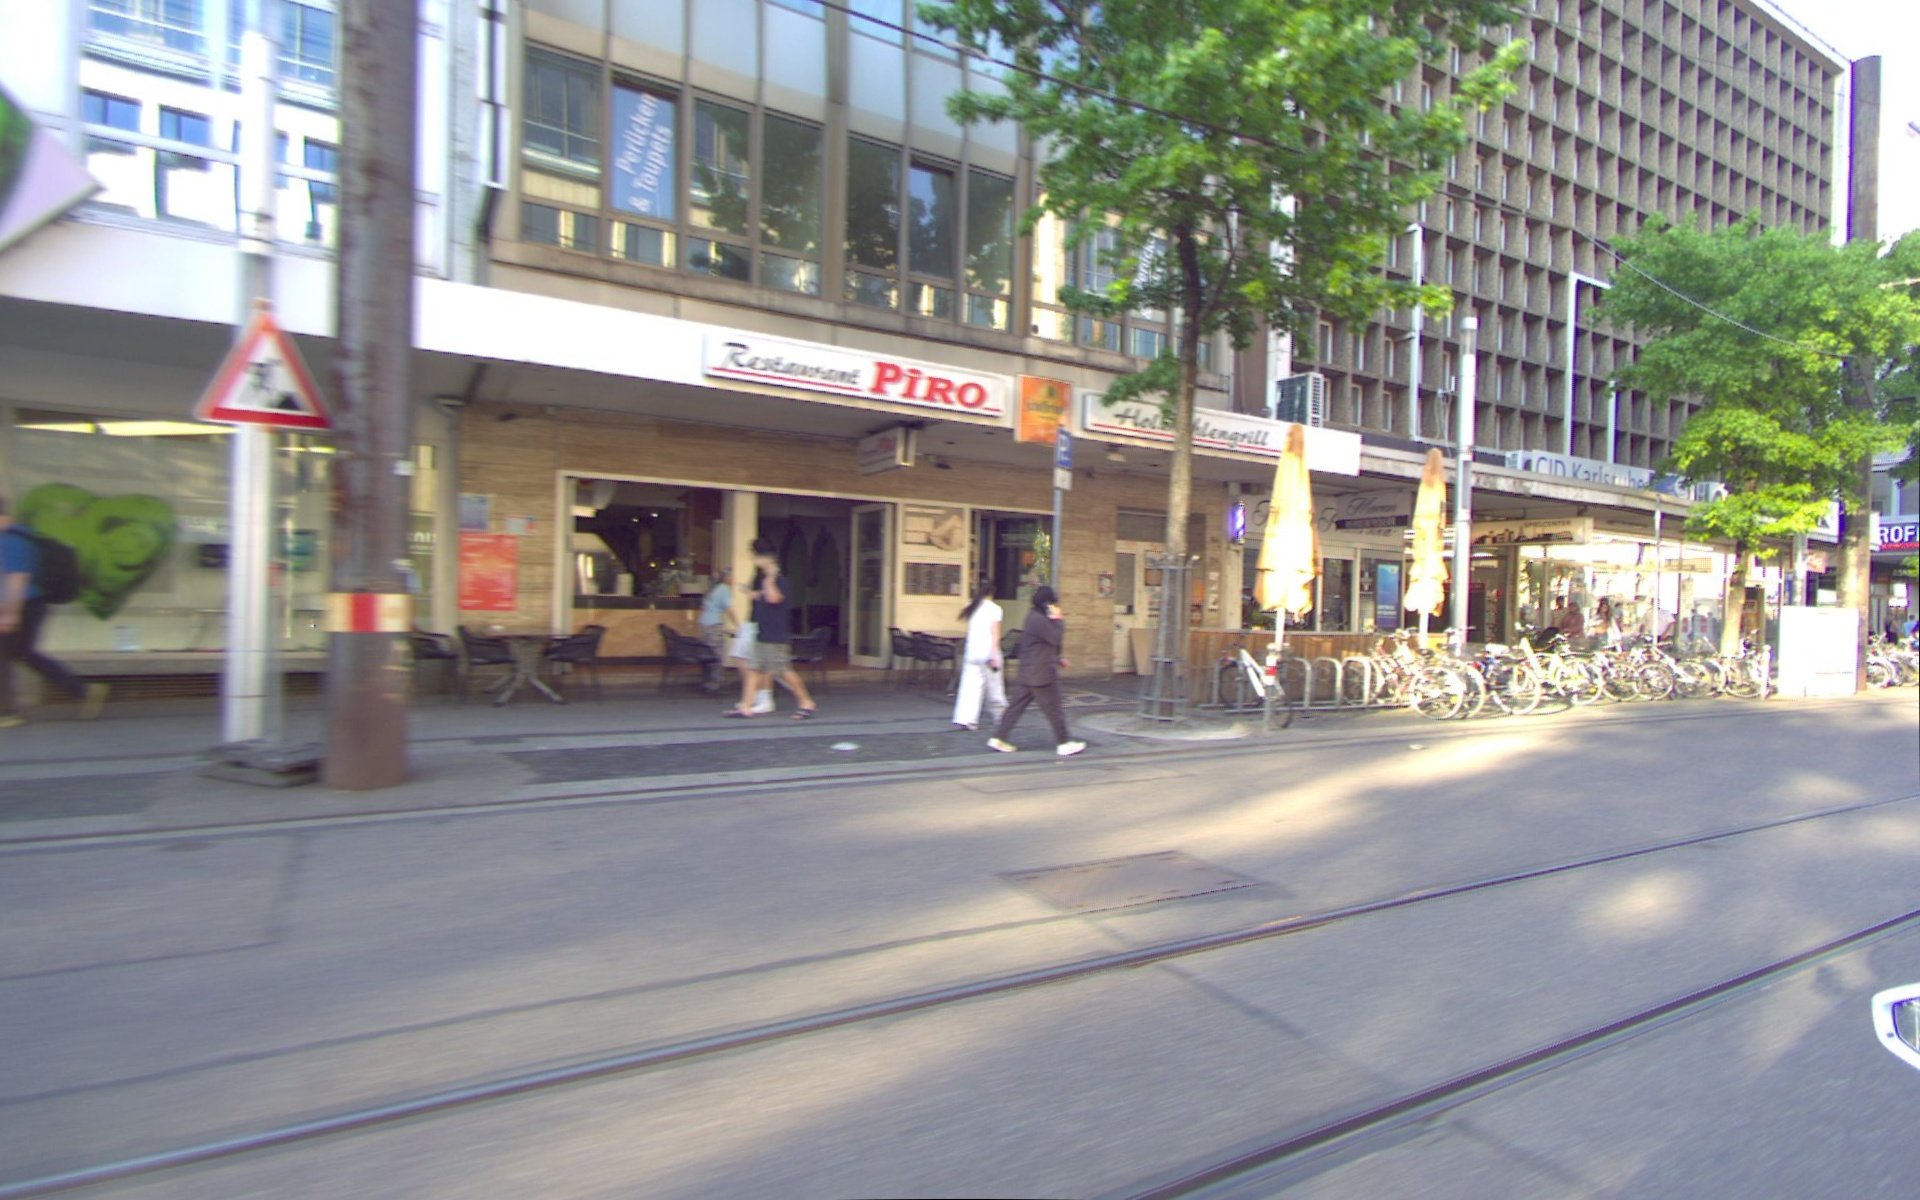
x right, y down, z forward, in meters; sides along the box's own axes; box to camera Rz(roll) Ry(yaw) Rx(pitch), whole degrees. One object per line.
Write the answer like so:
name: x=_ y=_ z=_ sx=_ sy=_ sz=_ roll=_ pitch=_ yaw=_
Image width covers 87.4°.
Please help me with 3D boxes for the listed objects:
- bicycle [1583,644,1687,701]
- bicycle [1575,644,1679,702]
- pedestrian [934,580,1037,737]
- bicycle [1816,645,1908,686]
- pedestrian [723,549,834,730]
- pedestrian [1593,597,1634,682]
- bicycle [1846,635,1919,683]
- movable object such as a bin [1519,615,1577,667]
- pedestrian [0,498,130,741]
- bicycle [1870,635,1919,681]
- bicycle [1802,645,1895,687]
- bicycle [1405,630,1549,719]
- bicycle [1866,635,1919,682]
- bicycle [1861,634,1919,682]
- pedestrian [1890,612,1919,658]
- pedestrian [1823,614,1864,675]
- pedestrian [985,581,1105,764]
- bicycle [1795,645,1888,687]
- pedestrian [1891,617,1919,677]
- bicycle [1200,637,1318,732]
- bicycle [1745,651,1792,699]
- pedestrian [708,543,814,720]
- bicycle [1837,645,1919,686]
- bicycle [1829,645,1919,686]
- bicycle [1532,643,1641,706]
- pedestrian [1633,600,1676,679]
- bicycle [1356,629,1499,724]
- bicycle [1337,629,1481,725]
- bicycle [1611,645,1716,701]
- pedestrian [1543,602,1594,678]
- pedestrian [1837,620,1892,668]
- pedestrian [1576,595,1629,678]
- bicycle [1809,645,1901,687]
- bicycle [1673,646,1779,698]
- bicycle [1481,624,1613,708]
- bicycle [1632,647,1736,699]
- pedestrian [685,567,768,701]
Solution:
bicycle: x=11.731 y=1.248 z=17.505 sx=0.340 sy=0.852 sz=1.486 roll=1 pitch=1 yaw=-28
bicycle: x=11.419 y=1.238 z=17.236 sx=0.340 sy=0.852 sz=1.486 roll=1 pitch=1 yaw=-28
pedestrian: x=0.258 y=0.583 z=10.403 sx=0.823 sy=1.529 sz=0.619 roll=1 pitch=2 yaw=-30
bicycle: x=20.194 y=1.457 z=22.525 sx=0.340 sy=0.794 sz=1.486 roll=1 pitch=1 yaw=-28
pedestrian: x=-1.866 y=0.382 z=10.319 sx=0.922 sy=1.771 sz=0.619 roll=1 pitch=2 yaw=-30
pedestrian: x=14.167 y=0.848 z=21.765 sx=0.704 sy=1.790 sz=0.682 roll=1 pitch=0 yaw=35
bicycle: x=21.641 y=1.365 z=23.362 sx=0.342 sy=1.023 sz=1.480 roll=1 pitch=1 yaw=-40
movable object such as a bin: x=12.248 y=0.847 z=20.917 sx=0.972 sy=1.053 sz=0.709 roll=1 pitch=0 yaw=-36
pedestrian: x=-7.723 y=0.141 z=8.438 sx=1.060 sy=1.949 sz=0.796 roll=1 pitch=3 yaw=-33
bicycle: x=22.682 y=1.391 z=23.900 sx=0.342 sy=1.042 sz=1.480 roll=1 pitch=1 yaw=-40
bicycle: x=19.578 y=1.444 z=22.171 sx=0.340 sy=0.794 sz=1.486 roll=1 pitch=1 yaw=-28
bicycle: x=7.312 y=1.023 z=14.292 sx=0.373 sy=1.092 sz=1.835 roll=1 pitch=1 yaw=-34
bicycle: x=22.390 y=1.380 z=23.670 sx=0.342 sy=1.042 sz=1.480 roll=1 pitch=1 yaw=-40
bicycle: x=22.078 y=1.361 z=23.470 sx=0.342 sy=1.042 sz=1.480 roll=1 pitch=1 yaw=-40
pedestrian: x=36.251 y=1.324 z=38.382 sx=0.970 sy=1.729 sz=0.817 roll=1 pitch=0 yaw=-32
pedestrian: x=26.577 y=1.325 z=30.227 sx=0.712 sy=1.785 sz=0.818 roll=1 pitch=0 yaw=25
pedestrian: x=0.776 y=0.633 z=9.201 sx=0.842 sy=1.571 sz=0.619 roll=1 pitch=2 yaw=-30
bicycle: x=19.276 y=1.431 z=21.992 sx=0.340 sy=0.794 sz=1.486 roll=1 pitch=1 yaw=-28
pedestrian: x=26.572 y=1.308 z=27.945 sx=0.970 sy=1.644 sz=0.744 roll=1 pitch=0 yaw=-33
bicycle: x=3.482 y=0.960 z=11.835 sx=0.372 sy=0.943 sz=1.591 roll=1 pitch=1 yaw=-23
bicycle: x=14.738 y=1.349 z=18.297 sx=1.393 sy=0.794 sz=0.341 roll=1 pitch=1 yaw=-39
pedestrian: x=-2.154 y=0.318 z=10.857 sx=0.922 sy=1.828 sz=0.619 roll=1 pitch=2 yaw=-30
bicycle: x=20.890 y=1.477 z=22.763 sx=0.340 sy=0.794 sz=1.486 roll=1 pitch=1 yaw=-28
bicycle: x=20.562 y=1.458 z=22.603 sx=0.340 sy=0.794 sz=1.486 roll=1 pitch=1 yaw=-28
bicycle: x=10.276 y=1.201 z=16.517 sx=0.341 sy=0.888 sz=1.482 roll=1 pitch=1 yaw=-36
pedestrian: x=16.009 y=0.902 z=23.155 sx=0.775 sy=1.790 sz=0.535 roll=1 pitch=0 yaw=36
bicycle: x=6.228 y=0.988 z=13.482 sx=0.373 sy=1.092 sz=1.777 roll=1 pitch=1 yaw=-34
bicycle: x=5.876 y=0.976 z=13.241 sx=0.373 sy=1.092 sz=1.777 roll=1 pitch=1 yaw=-34
bicycle: x=12.342 y=1.267 z=17.666 sx=0.340 sy=0.852 sz=1.486 roll=1 pitch=1 yaw=-28
pedestrian: x=12.938 y=0.842 z=21.367 sx=0.678 sy=1.568 sz=0.709 roll=1 pitch=0 yaw=-36
pedestrian: x=30.757 y=1.493 z=34.185 sx=0.993 sy=1.583 sz=0.981 roll=1 pitch=0 yaw=9
pedestrian: x=13.260 y=0.742 z=20.729 sx=0.678 sy=1.661 sz=0.709 roll=1 pitch=0 yaw=-36
bicycle: x=19.884 y=1.452 z=22.349 sx=0.340 sy=0.794 sz=1.486 roll=1 pitch=1 yaw=-28
bicycle: x=13.765 y=1.279 z=18.095 sx=0.340 sy=0.794 sz=1.486 roll=1 pitch=1 yaw=-28
bicycle: x=9.179 y=1.002 z=15.784 sx=0.372 sy=1.156 sz=1.838 roll=1 pitch=1 yaw=-28
bicycle: x=12.974 y=1.287 z=18.040 sx=0.340 sy=0.794 sz=1.486 roll=1 pitch=1 yaw=-28
pedestrian: x=-2.828 y=0.398 z=12.134 sx=0.800 sy=1.546 sz=0.619 roll=1 pitch=2 yaw=-30
